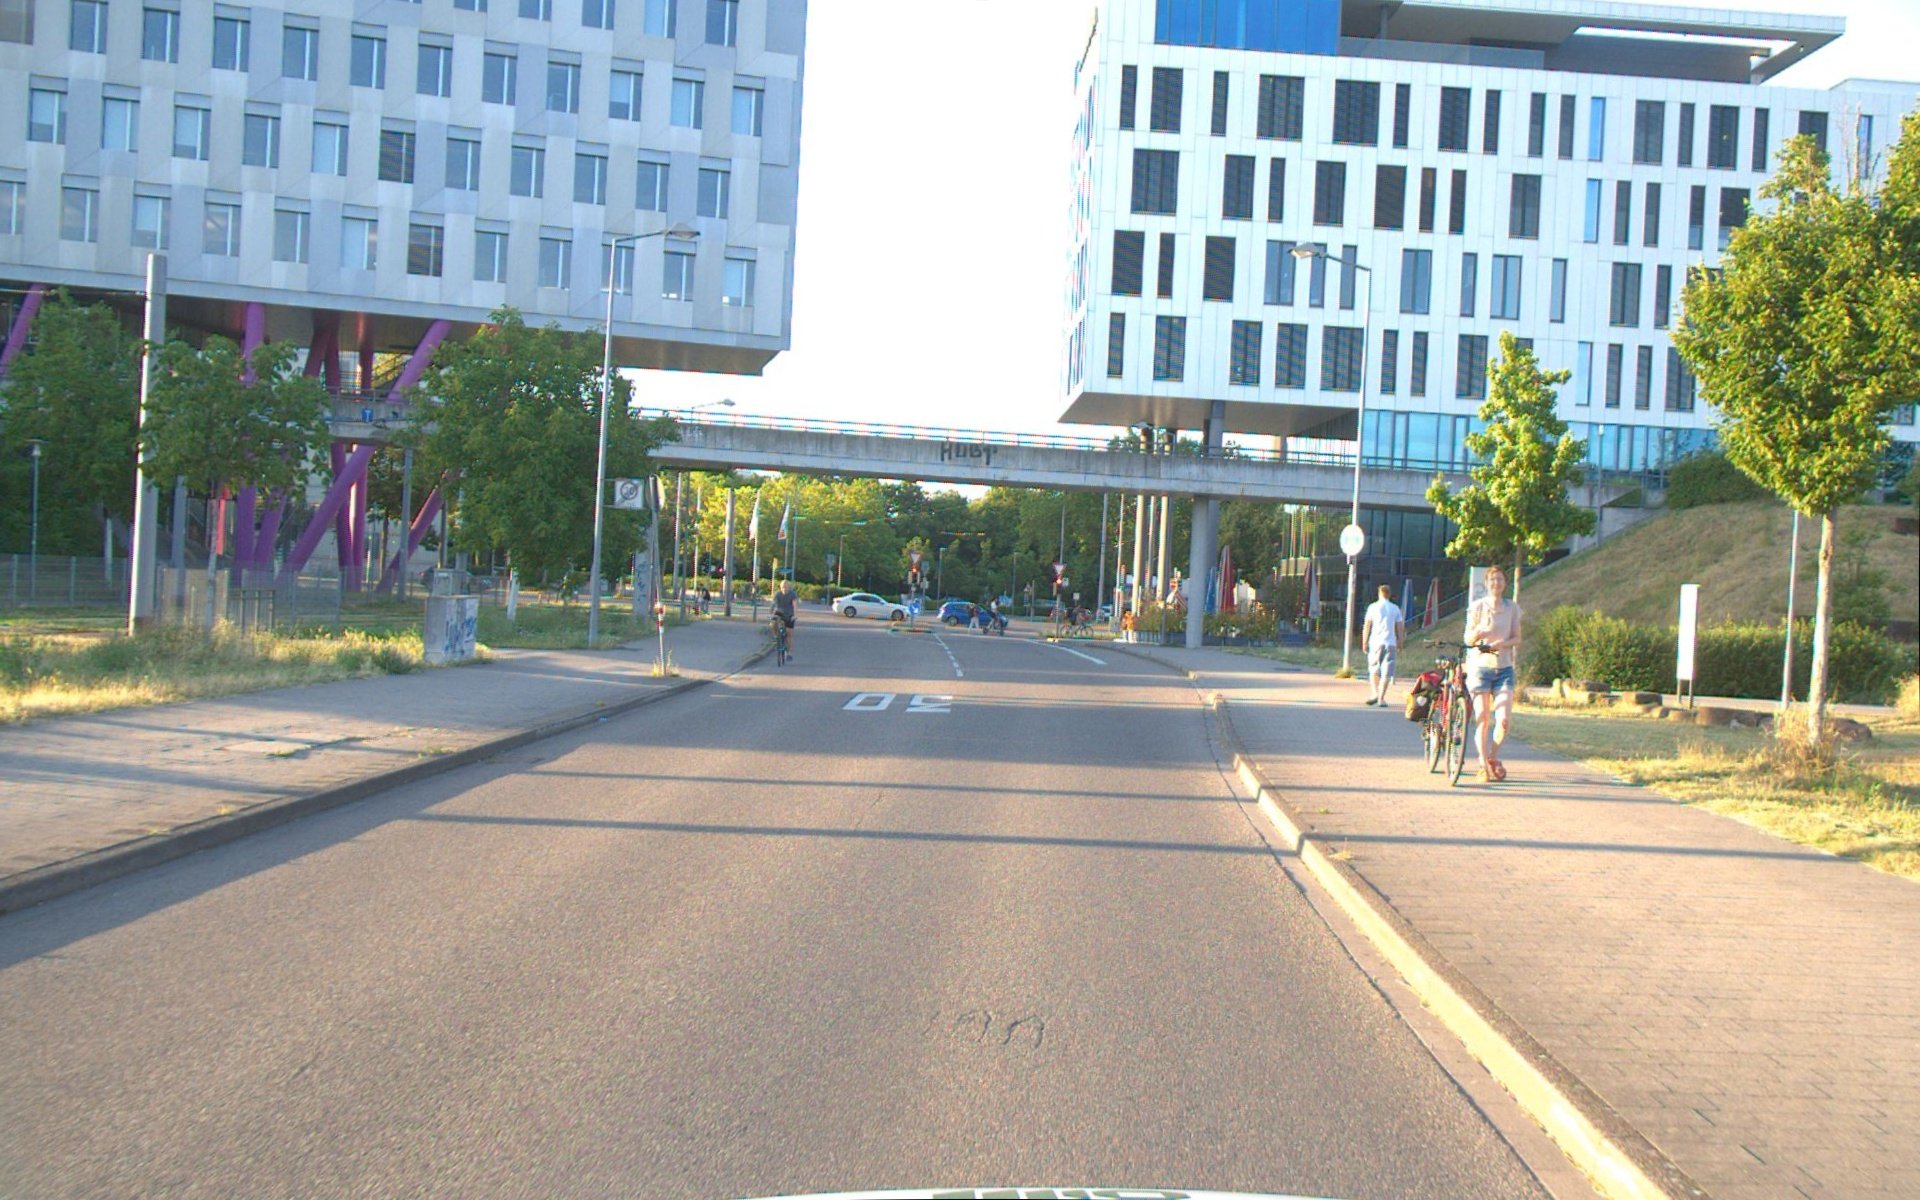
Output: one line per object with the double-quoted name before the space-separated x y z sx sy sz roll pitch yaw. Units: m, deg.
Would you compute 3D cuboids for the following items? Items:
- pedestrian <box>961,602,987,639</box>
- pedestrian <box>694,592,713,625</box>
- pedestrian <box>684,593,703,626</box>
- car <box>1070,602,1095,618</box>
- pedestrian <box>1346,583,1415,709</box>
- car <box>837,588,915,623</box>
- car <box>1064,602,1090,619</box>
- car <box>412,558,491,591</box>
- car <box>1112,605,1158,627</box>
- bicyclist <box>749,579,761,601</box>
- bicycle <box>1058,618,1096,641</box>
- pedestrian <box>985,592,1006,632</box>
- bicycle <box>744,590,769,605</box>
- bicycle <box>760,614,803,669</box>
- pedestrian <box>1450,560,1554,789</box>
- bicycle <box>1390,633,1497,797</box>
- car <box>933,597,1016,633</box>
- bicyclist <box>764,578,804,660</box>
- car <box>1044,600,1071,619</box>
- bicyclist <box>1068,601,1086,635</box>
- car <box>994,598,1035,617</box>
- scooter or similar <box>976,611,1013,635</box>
"pedestrian" 0.723 1.050 85.222 1.036 1.865 0.892 3 1 -14
"pedestrian" -13.254 0.428 85.519 0.685 1.692 0.712 3 1 16
"pedestrian" -13.657 0.467 84.782 0.671 1.652 0.712 3 1 16
"car" 13.087 1.069 176.295 1.468 1.634 3.400 3 1 25
"pedestrian" 6.302 0.674 24.839 0.814 1.797 0.818 3 1 6
"car" -5.152 0.311 101.996 4.591 1.860 1.835 3 1 0
"car" 12.239 1.094 172.765 1.468 1.634 3.400 3 1 25
"car" -32.460 -1.654 105.627 4.378 1.848 1.944 3 1 -3
"car" 17.134 1.533 162.261 4.373 1.848 1.946 3 1 4
"bicyclist" -17.174 -0.834 138.424 0.747 1.753 0.548 2 1 -26
"bicycle" 6.213 1.566 87.963 1.929 1.111 0.622 3 1 3
"pedestrian" 1.897 0.630 88.032 0.892 2.025 0.770 3 1 -9
"bicycle" -17.026 -0.182 138.541 1.939 1.147 0.556 2 1 -27
"bicycle" -3.798 0.875 35.279 0.527 1.061 1.926 3 1 4
"pedestrian" 4.547 0.600 13.912 0.582 1.833 0.818 3 1 6
"bicycle" 4.036 0.919 13.924 0.440 1.189 1.942 3 1 5
"car" 0.873 0.888 99.211 4.628 1.860 1.888 3 1 -10
"bicyclist" -3.761 0.385 35.347 0.602 1.691 1.037 3 1 4
"car" 9.937 0.978 168.712 1.468 1.791 3.400 3 1 25
"bicyclist" 6.224 0.962 87.954 0.842 1.761 0.606 3 1 3
"car" 6.436 0.892 195.746 4.586 1.901 2.014 3 1 5
"scooter or similar" 1.845 1.219 88.033 1.826 1.194 0.762 3 1 -10
